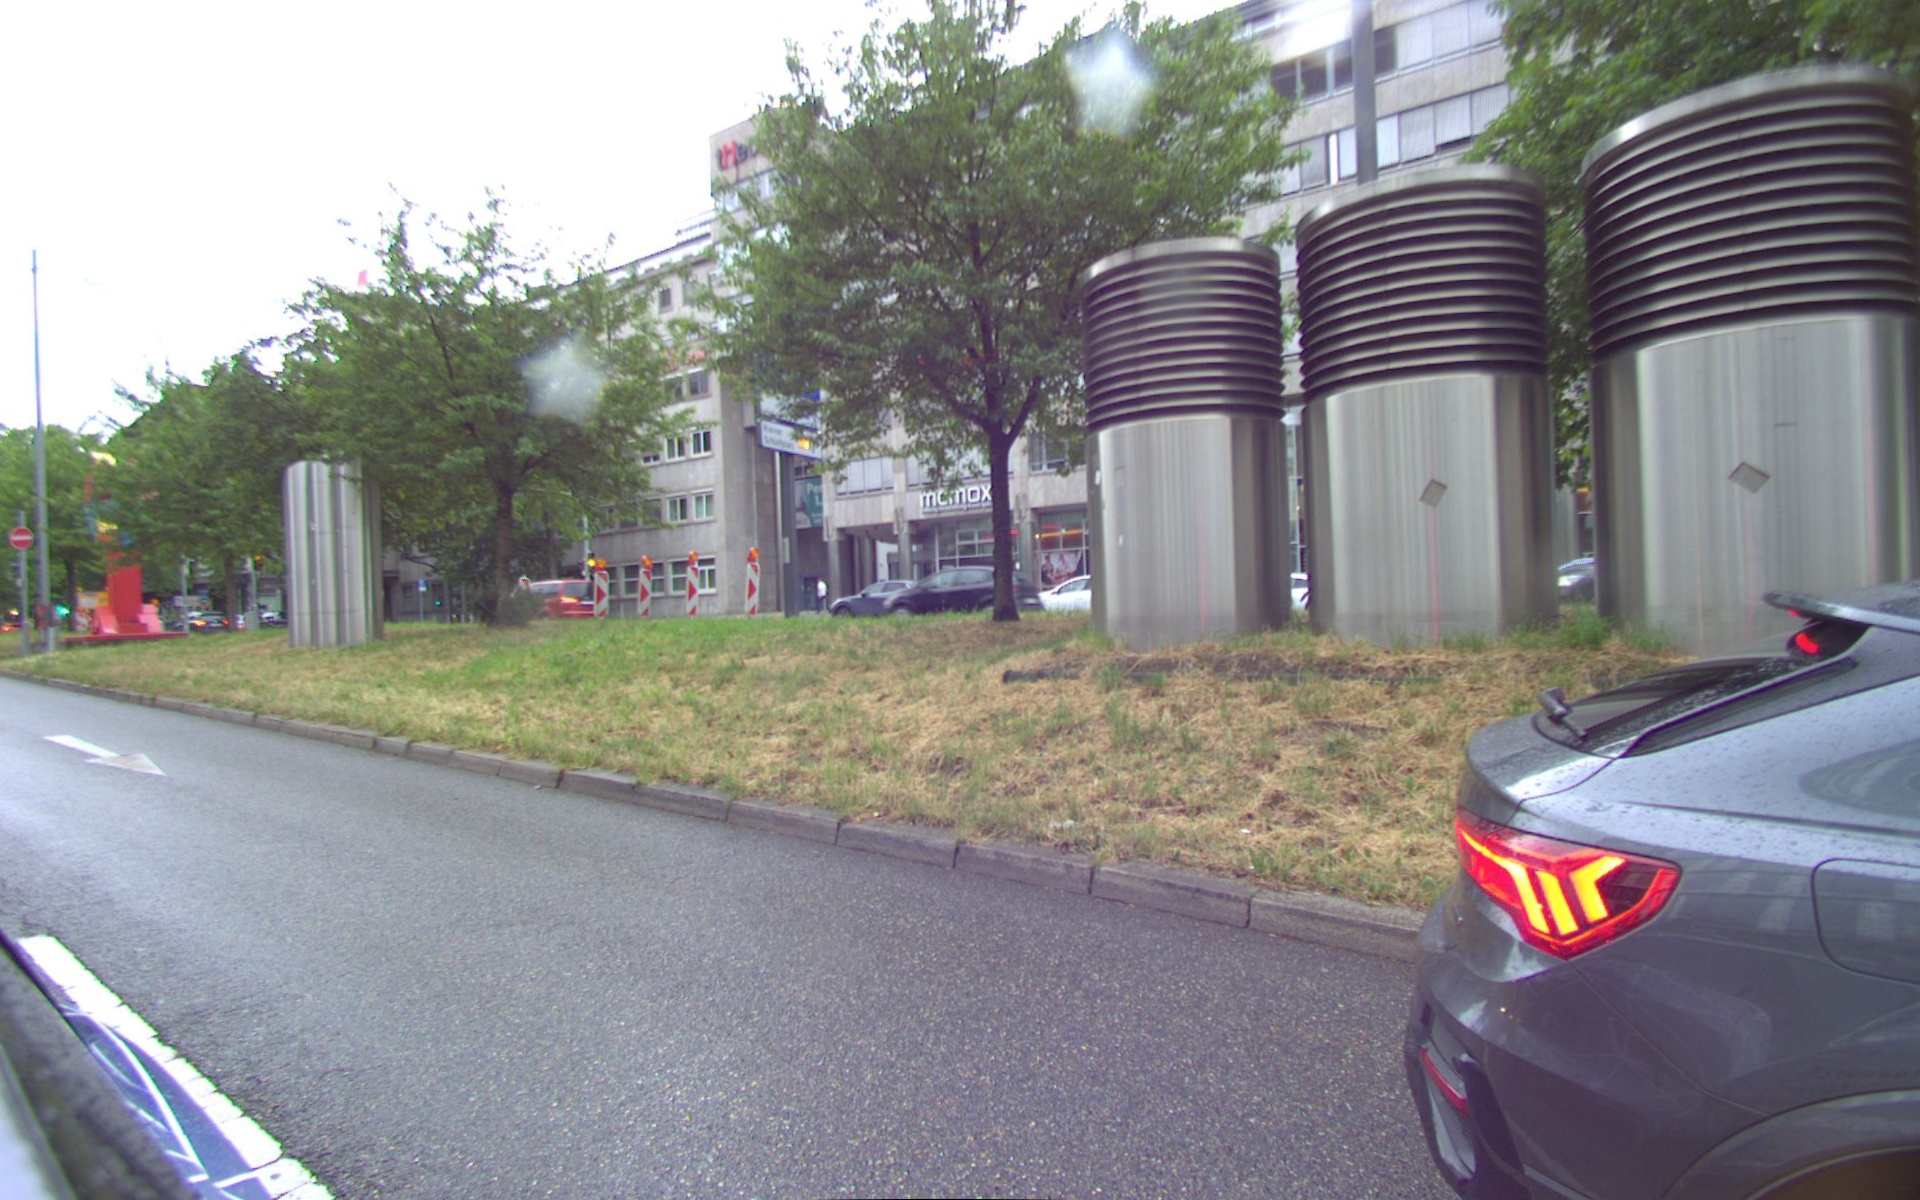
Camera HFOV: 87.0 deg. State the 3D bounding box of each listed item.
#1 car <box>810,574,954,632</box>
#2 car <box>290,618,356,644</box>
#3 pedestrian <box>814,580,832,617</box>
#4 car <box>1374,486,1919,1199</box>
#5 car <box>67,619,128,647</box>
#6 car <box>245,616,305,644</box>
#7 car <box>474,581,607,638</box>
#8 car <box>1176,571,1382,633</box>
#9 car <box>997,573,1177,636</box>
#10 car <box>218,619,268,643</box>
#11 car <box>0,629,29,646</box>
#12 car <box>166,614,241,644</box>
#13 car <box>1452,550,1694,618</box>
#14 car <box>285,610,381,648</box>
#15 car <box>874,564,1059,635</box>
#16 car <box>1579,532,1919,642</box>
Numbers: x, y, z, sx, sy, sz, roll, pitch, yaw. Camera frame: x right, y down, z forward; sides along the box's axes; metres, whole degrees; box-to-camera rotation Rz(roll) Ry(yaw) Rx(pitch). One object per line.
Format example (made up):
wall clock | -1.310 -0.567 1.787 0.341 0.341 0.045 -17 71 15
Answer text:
car | -2.669 0.139 33.786 4.785 1.739 1.844 -2 -1 38
car | -37.676 1.832 59.805 4.559 1.440 1.844 -2 -1 38
pedestrian | -6.720 -0.070 49.523 0.525 1.801 0.716 -2 0 20
car | 2.892 0.606 0.969 4.247 1.628 1.830 -2 0 39
car | -56.052 2.133 65.745 3.987 1.713 1.930 -2 0 33
car | -42.938 1.901 63.423 4.461 1.634 1.844 -2 -1 38
car | -13.808 0.316 33.206 4.568 1.740 1.711 -2 0 33
car | 8.054 0.086 25.797 4.677 1.412 1.759 -2 -1 38
car | 3.594 0.160 29.134 4.905 1.634 1.759 -2 -1 38
car | -47.002 2.045 66.337 3.687 1.514 1.670 -2 -1 38
car | -84.519 3.372 90.159 4.128 1.440 1.843 -2 -1 40
car | -40.104 1.528 53.637 3.987 1.486 1.853 -2 0 33
car | 13.666 -0.331 22.743 4.465 1.335 1.876 -2 0 34
car | -26.545 1.232 42.827 4.180 1.486 1.805 -2 0 33
car | 0.122 -0.002 23.704 3.990 1.497 1.790 -1 2 35
car | 12.055 -0.173 15.487 4.368 1.497 1.791 -2 2 32
